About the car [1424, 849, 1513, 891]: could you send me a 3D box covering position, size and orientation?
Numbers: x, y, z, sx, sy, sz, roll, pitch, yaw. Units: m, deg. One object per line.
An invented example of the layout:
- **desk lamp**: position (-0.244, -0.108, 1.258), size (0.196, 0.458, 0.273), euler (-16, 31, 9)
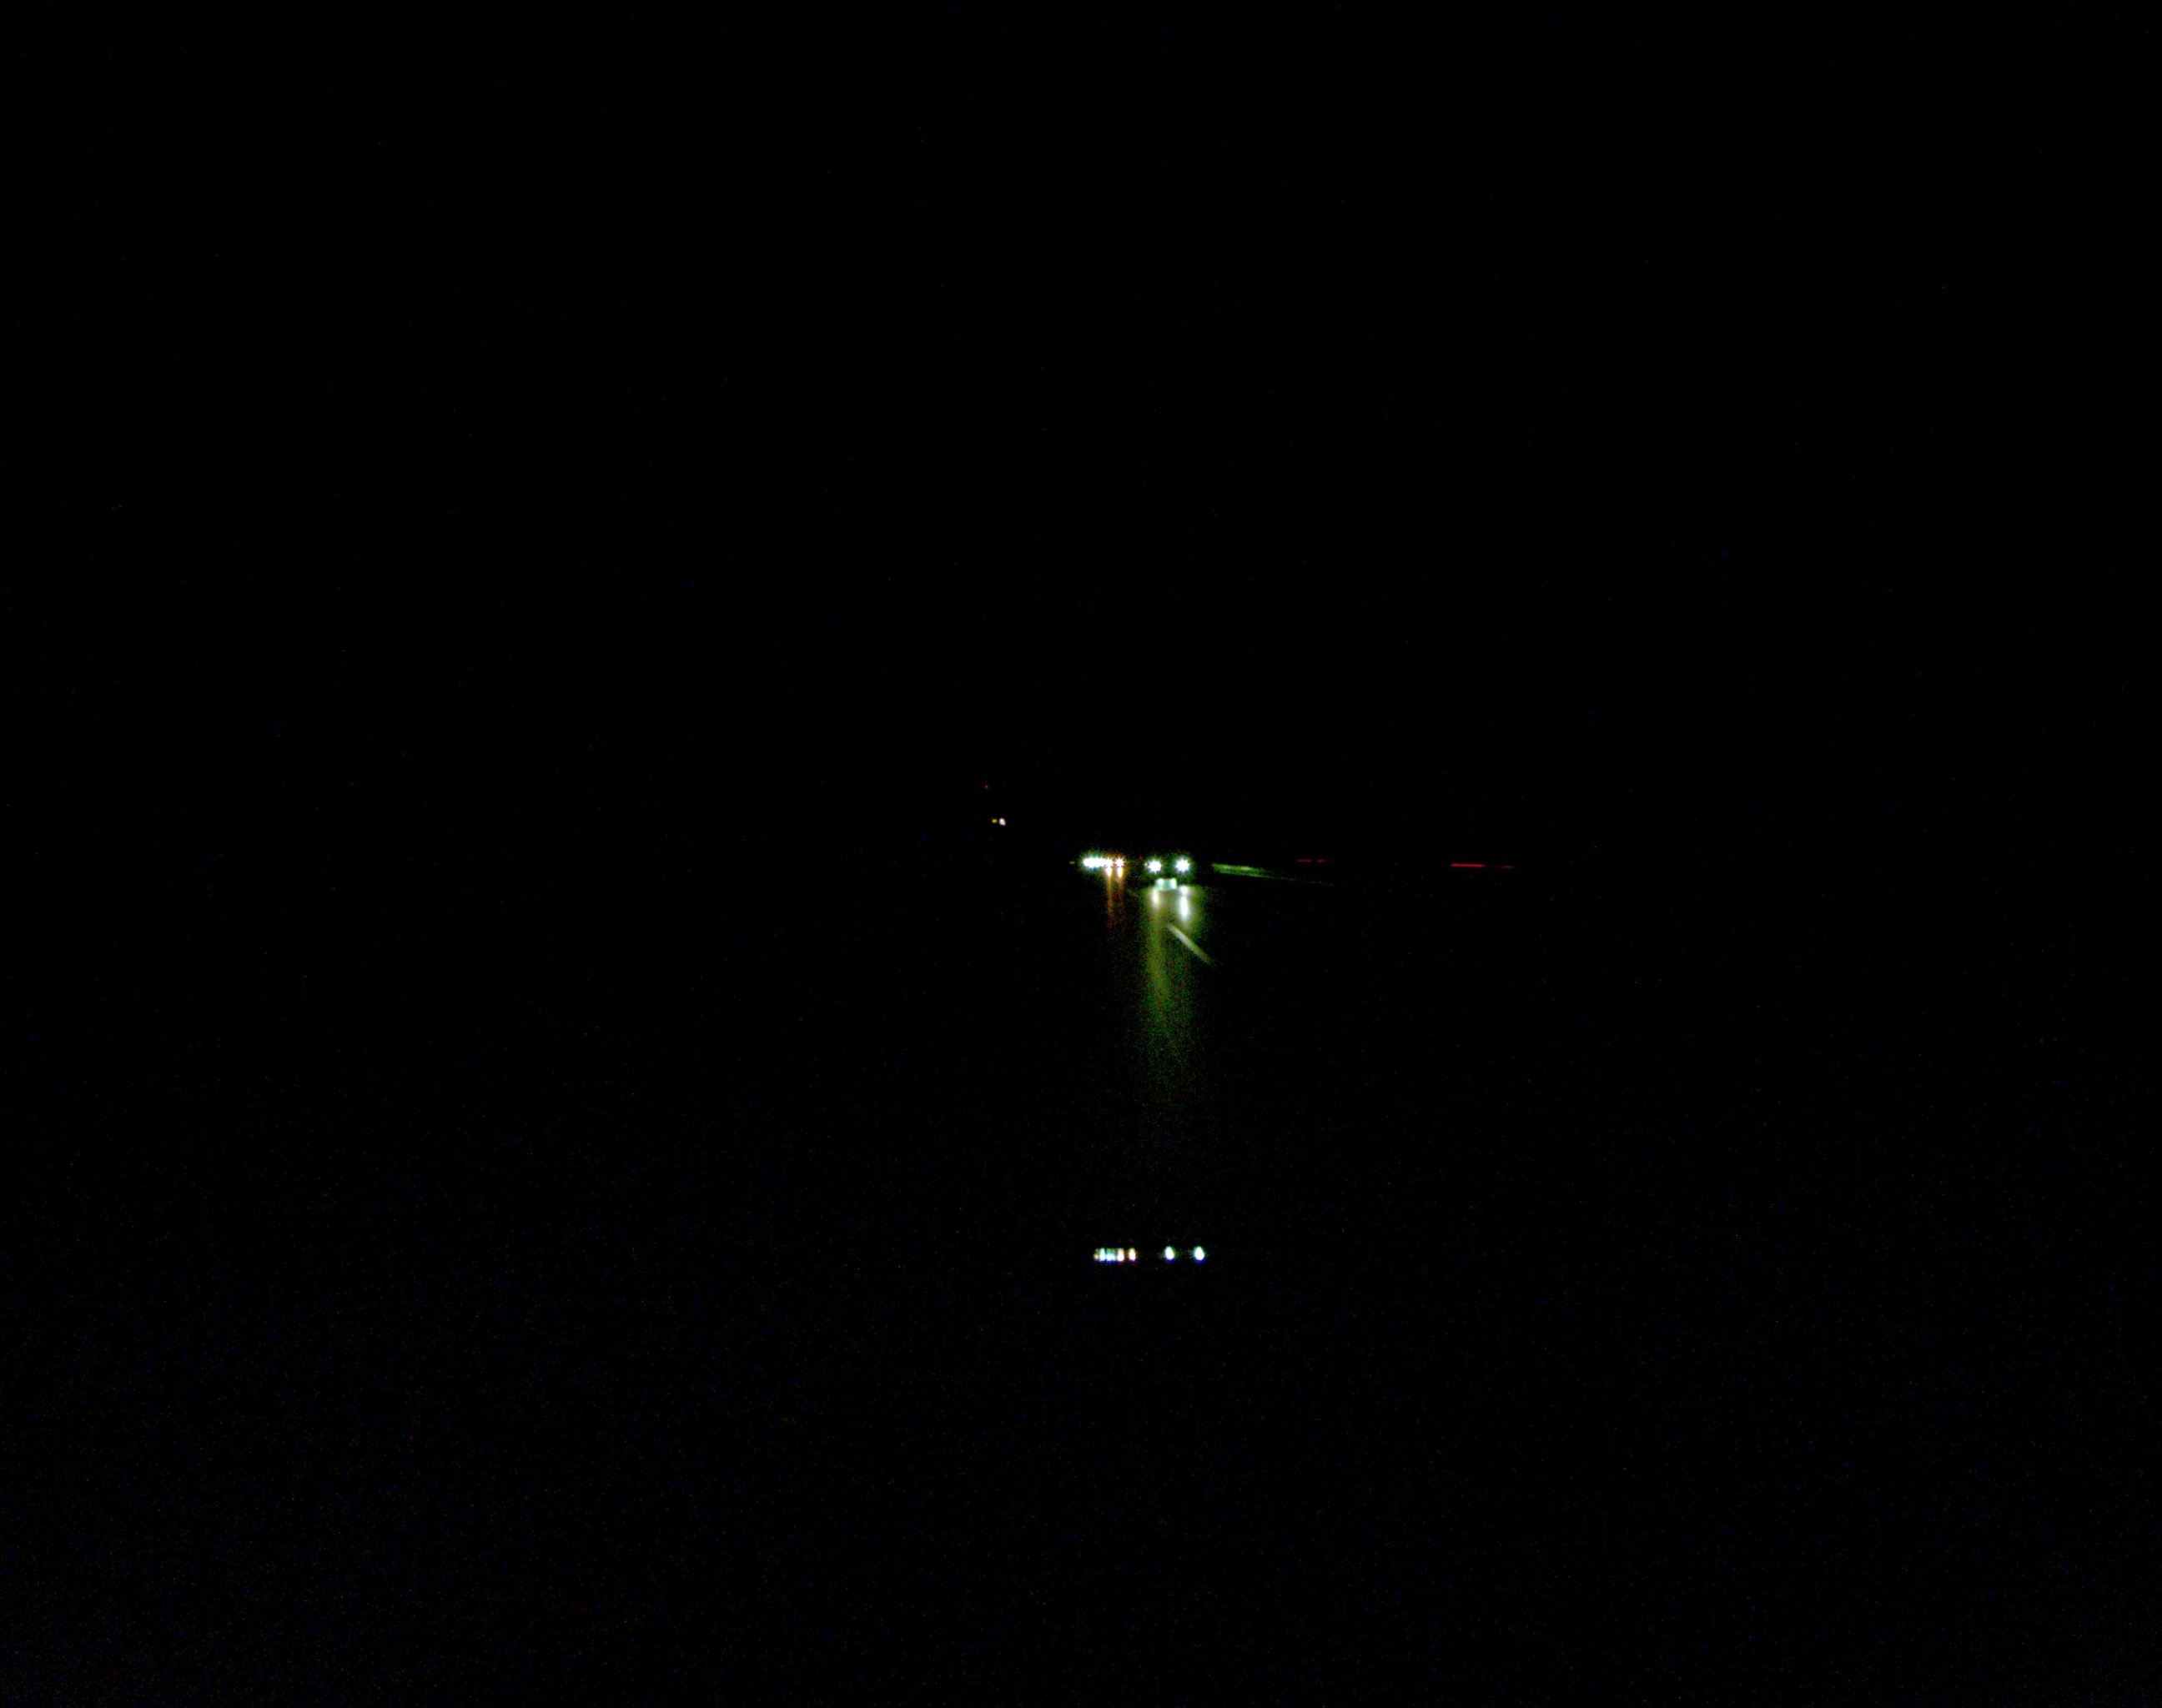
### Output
- **car**: position (19.941, 0.775, 39.395), size (2.202, 1.944, 4.763), euler (-2, 0, 1)

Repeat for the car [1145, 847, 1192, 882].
- **car**: position (4.733, 0.532, 41.988), size (1.998, 1.711, 5.942), euler (-2, 0, 1)

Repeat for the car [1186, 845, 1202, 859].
- **car**: position (25.741, -0.545, 172.873), size (2.499, 3.011, 7.139), euler (-2, 0, 0)

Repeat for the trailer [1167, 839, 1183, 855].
- **trailer**: position (26.340, -1.979, 212.829), size (3.063, 4.209, 13.040), euler (-2, 0, 1)

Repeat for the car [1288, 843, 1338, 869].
- **car**: position (16.652, 0.119, 54.835), size (2.202, 1.672, 4.763), euler (-2, 0, 1)

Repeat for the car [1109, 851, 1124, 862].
- **car**: position (4.938, 0.369, 106.051), size (1.998, 1.423, 4.329), euler (-2, 1, 2)
